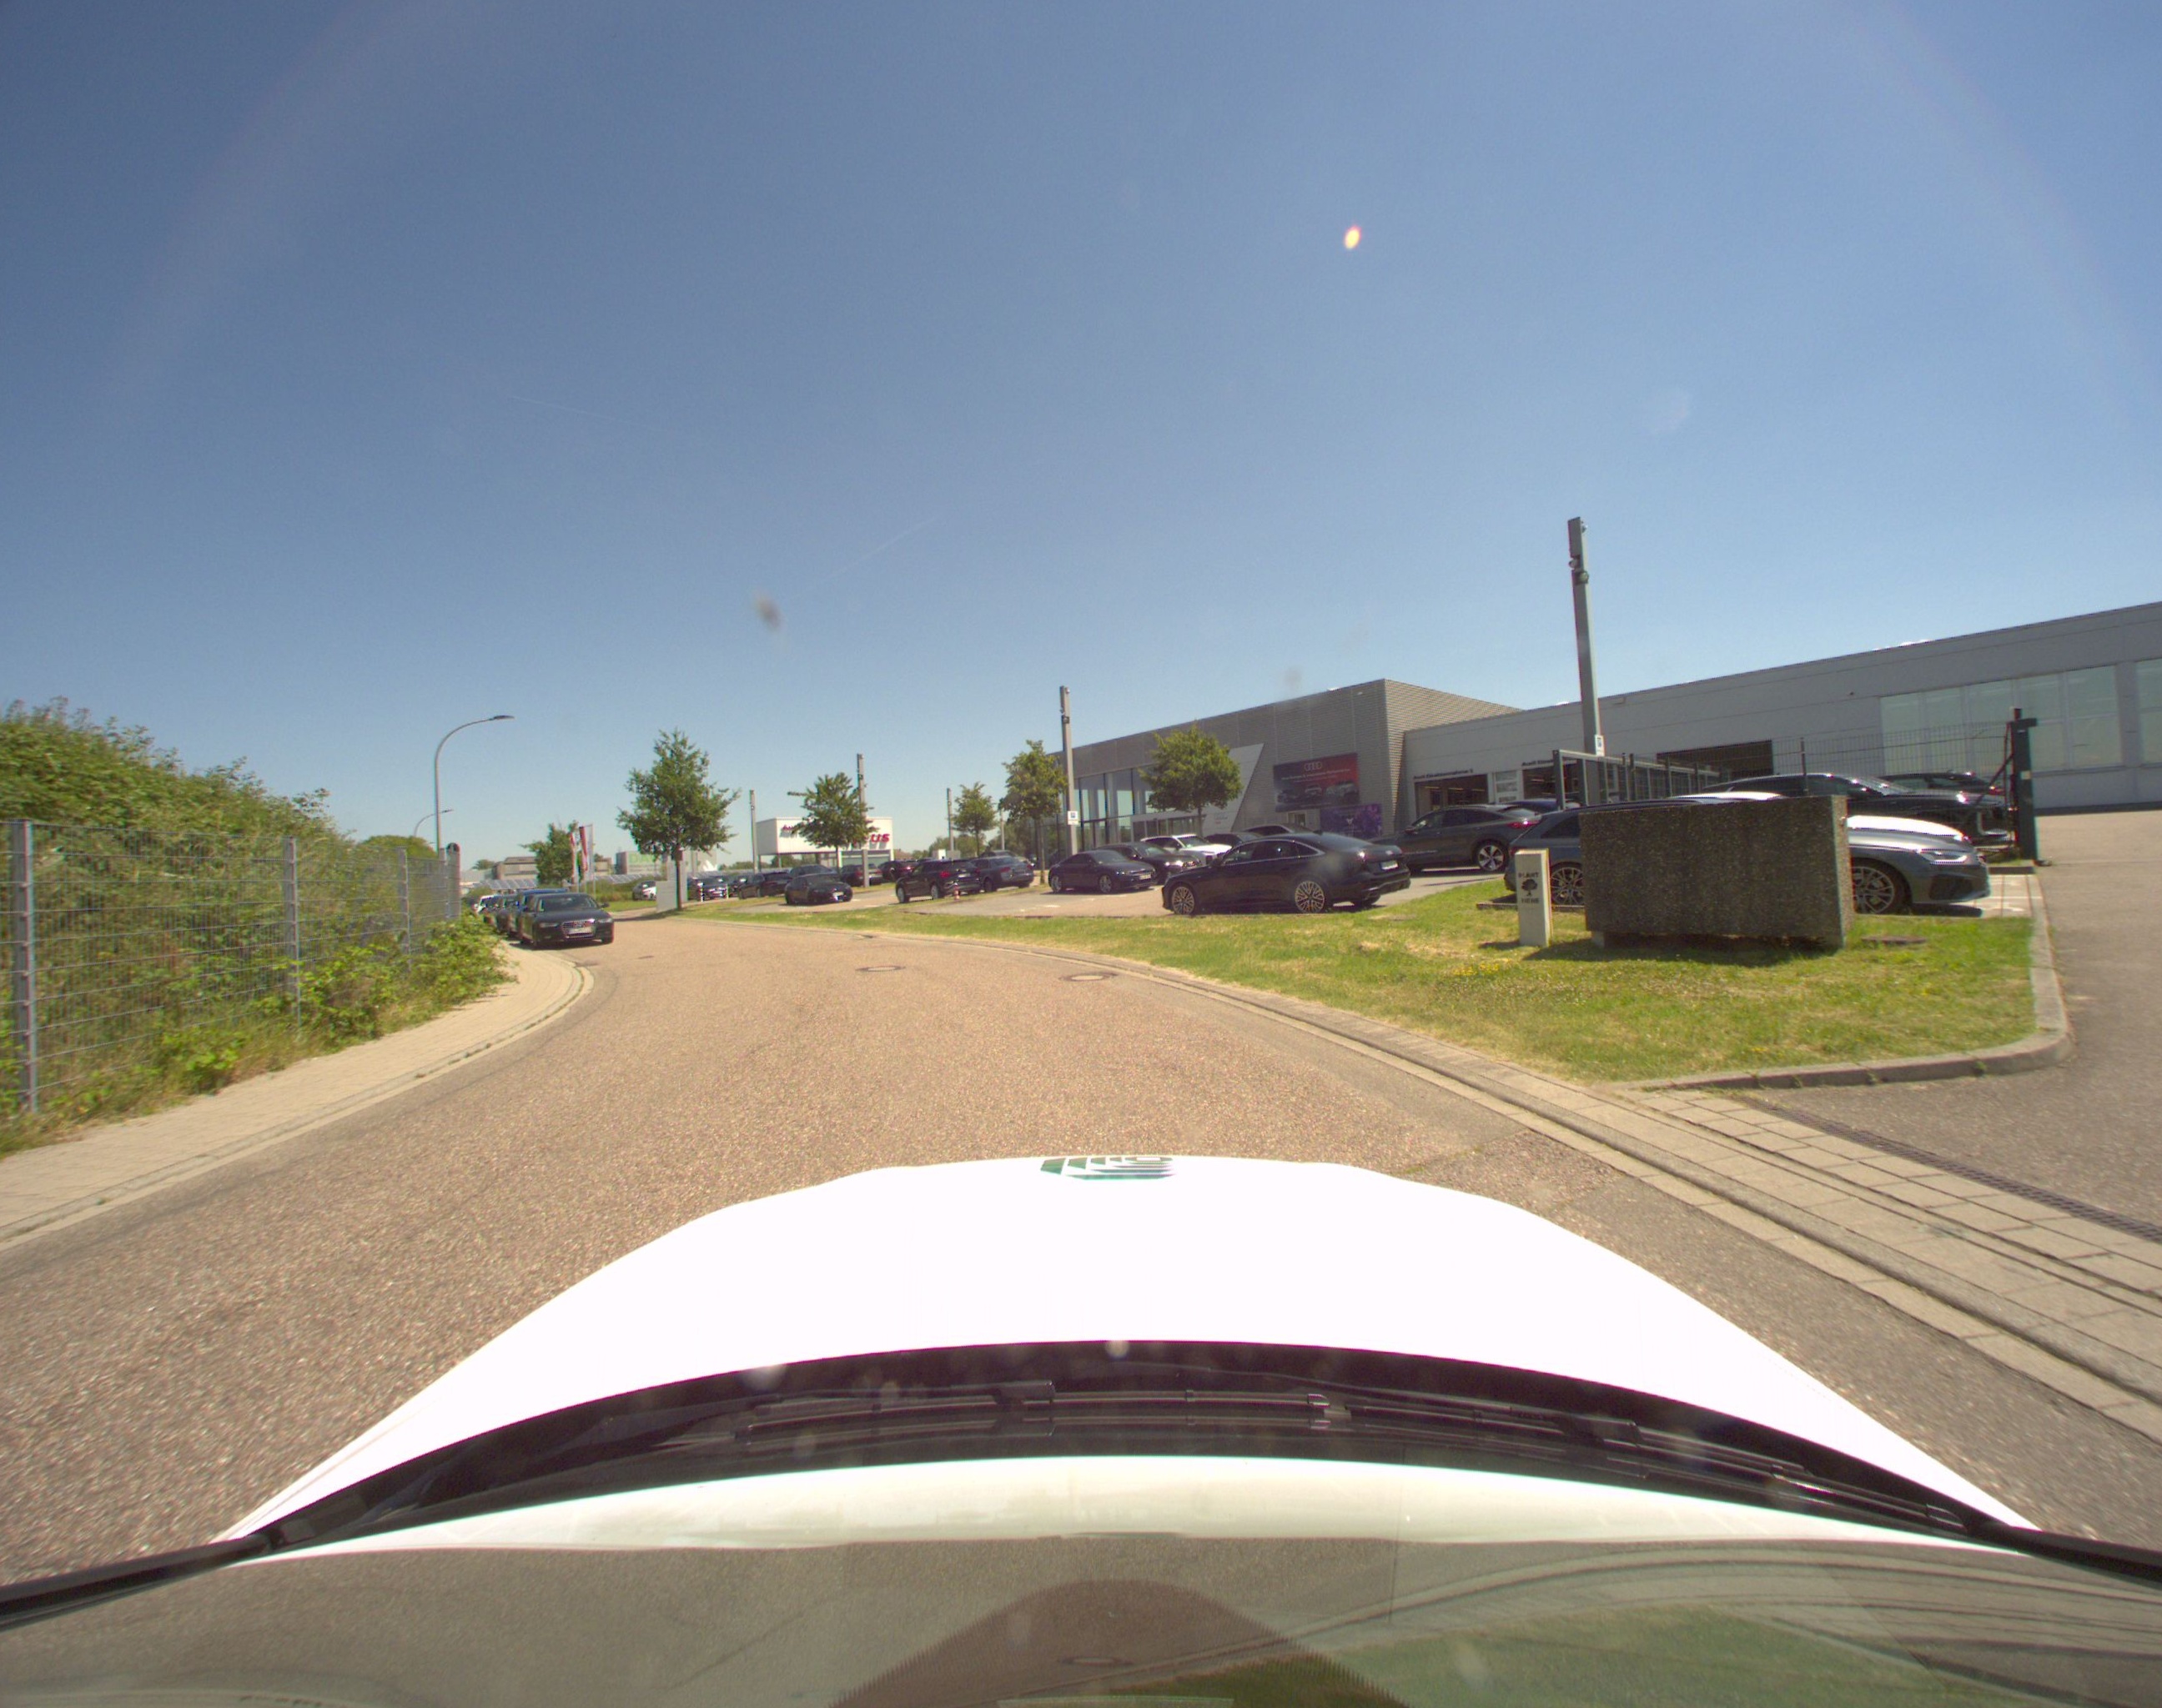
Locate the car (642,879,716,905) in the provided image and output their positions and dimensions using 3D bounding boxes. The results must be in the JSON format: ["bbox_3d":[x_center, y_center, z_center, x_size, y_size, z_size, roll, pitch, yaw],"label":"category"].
[{"bbox_3d":[-30.413,2.872,61.747,4.569,1.457,2.006,-5,0,-43],"label":"car"}]

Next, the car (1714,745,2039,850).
[{"bbox_3d":[16.324,-1.096,16.970,1.979,1.630,4.570,-6,1,-42],"label":"car"}]

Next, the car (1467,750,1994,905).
[{"bbox_3d":[7.863,-0.217,10.341,1.979,1.467,4.885,-6,1,-42],"label":"car"}]

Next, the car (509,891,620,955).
[{"bbox_3d":[-14.378,1.861,22.537,1.840,1.454,4.525,-4,-1,-42],"label":"car"}]

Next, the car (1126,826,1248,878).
[{"bbox_3d":[3.978,-0.044,31.018,1.979,1.613,4.236,-6,1,-42],"label":"car"}]

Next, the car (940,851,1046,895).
[{"bbox_3d":[-3.527,0.784,32.007,1.979,1.366,4.176,-7,2,-42],"label":"car"}]

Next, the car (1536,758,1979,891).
[{"bbox_3d":[9.929,-0.345,12.352,1.836,1.528,4.885,-6,1,-42],"label":"car"}]

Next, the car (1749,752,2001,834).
[{"bbox_3d":[20.976,-1.571,21.690,1.979,1.630,4.570,-6,1,-42],"label":"car"}]

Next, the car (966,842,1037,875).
[{"bbox_3d":[-5.169,0.327,52.392,1.978,1.620,4.926,-5,-1,-41],"label":"car"}]

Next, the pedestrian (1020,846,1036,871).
[{"bbox_3d":[-3.838,0.330,59.087,0.776,1.776,0.737,-4,-1,-36],"label":"pedestrian"}]

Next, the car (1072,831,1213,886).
[{"bbox_3d":[2.101,0.201,29.193,1.979,1.553,4.945,-6,1,-42],"label":"car"}]

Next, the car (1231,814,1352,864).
[{"bbox_3d":[9.081,-0.616,35.486,1.979,1.739,4.671,-6,1,-42],"label":"car"}]

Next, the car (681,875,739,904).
[{"bbox_3d":[-24.235,2.343,53.076,2.043,1.514,5.177,-7,2,-40],"label":"car"}]

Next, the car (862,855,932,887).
[{"bbox_3d":[-11.119,1.035,48.962,1.978,1.456,4.926,-5,-1,-41],"label":"car"}]

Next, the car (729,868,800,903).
[{"bbox_3d":[-17.296,1.744,44.403,1.978,1.456,4.926,-5,-1,-41],"label":"car"}]

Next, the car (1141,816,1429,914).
[{"bbox_3d":[3.628,0.262,15.325,1.896,1.454,4.963,-6,1,-42],"label":"car"}]

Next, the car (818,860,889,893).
[{"bbox_3d":[-13.350,1.313,47.572,1.978,1.456,4.926,-5,-1,-41],"label":"car"}]

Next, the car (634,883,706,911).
[{"bbox_3d":[-32.155,3.379,63.838,4.569,1.692,2.006,-4,-1,-43],"label":"car"}]

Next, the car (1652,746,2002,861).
[{"bbox_3d":[13.779,-0.862,15.302,1.979,1.630,4.570,-6,1,-42],"label":"car"}]

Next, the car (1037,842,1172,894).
[{"bbox_3d":[0.706,0.482,26.856,1.979,1.374,4.259,-6,1,-42],"label":"car"}]

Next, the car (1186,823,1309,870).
[{"bbox_3d":[6.504,-0.278,32.157,1.979,1.476,4.319,-6,1,-42],"label":"car"}]

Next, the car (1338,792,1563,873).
[{"bbox_3d":[9.139,-0.476,20.474,1.840,1.643,4.728,-4,-1,-42],"label":"car"}]

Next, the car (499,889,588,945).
[{"bbox_3d":[-18.038,2.064,27.237,1.840,1.570,4.333,-4,-1,-42],"label":"car"}]

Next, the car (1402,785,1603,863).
[{"bbox_3d":[11.276,-0.762,22.036,1.840,1.694,4.363,-4,-1,-42],"label":"car"}]

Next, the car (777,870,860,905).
[{"bbox_3d":[-12.519,1.579,38.645,1.979,1.366,4.664,-7,3,-41],"label":"car"}]

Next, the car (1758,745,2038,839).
[{"bbox_3d":[18.672,-1.363,18.815,1.979,1.630,4.325,-6,1,-42],"label":"car"}]

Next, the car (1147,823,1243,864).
[{"bbox_3d":[5.527,-0.505,39.953,1.978,1.591,4.375,-7,2,-39],"label":"car"}]

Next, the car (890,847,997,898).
[{"bbox_3d":[-5.231,0.732,30.608,1.904,1.571,4.176,-7,2,-42],"label":"car"}]

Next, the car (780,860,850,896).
[{"bbox_3d":[-15.198,1.385,46.383,1.978,1.598,4.926,-5,-1,-41],"label":"car"}]
